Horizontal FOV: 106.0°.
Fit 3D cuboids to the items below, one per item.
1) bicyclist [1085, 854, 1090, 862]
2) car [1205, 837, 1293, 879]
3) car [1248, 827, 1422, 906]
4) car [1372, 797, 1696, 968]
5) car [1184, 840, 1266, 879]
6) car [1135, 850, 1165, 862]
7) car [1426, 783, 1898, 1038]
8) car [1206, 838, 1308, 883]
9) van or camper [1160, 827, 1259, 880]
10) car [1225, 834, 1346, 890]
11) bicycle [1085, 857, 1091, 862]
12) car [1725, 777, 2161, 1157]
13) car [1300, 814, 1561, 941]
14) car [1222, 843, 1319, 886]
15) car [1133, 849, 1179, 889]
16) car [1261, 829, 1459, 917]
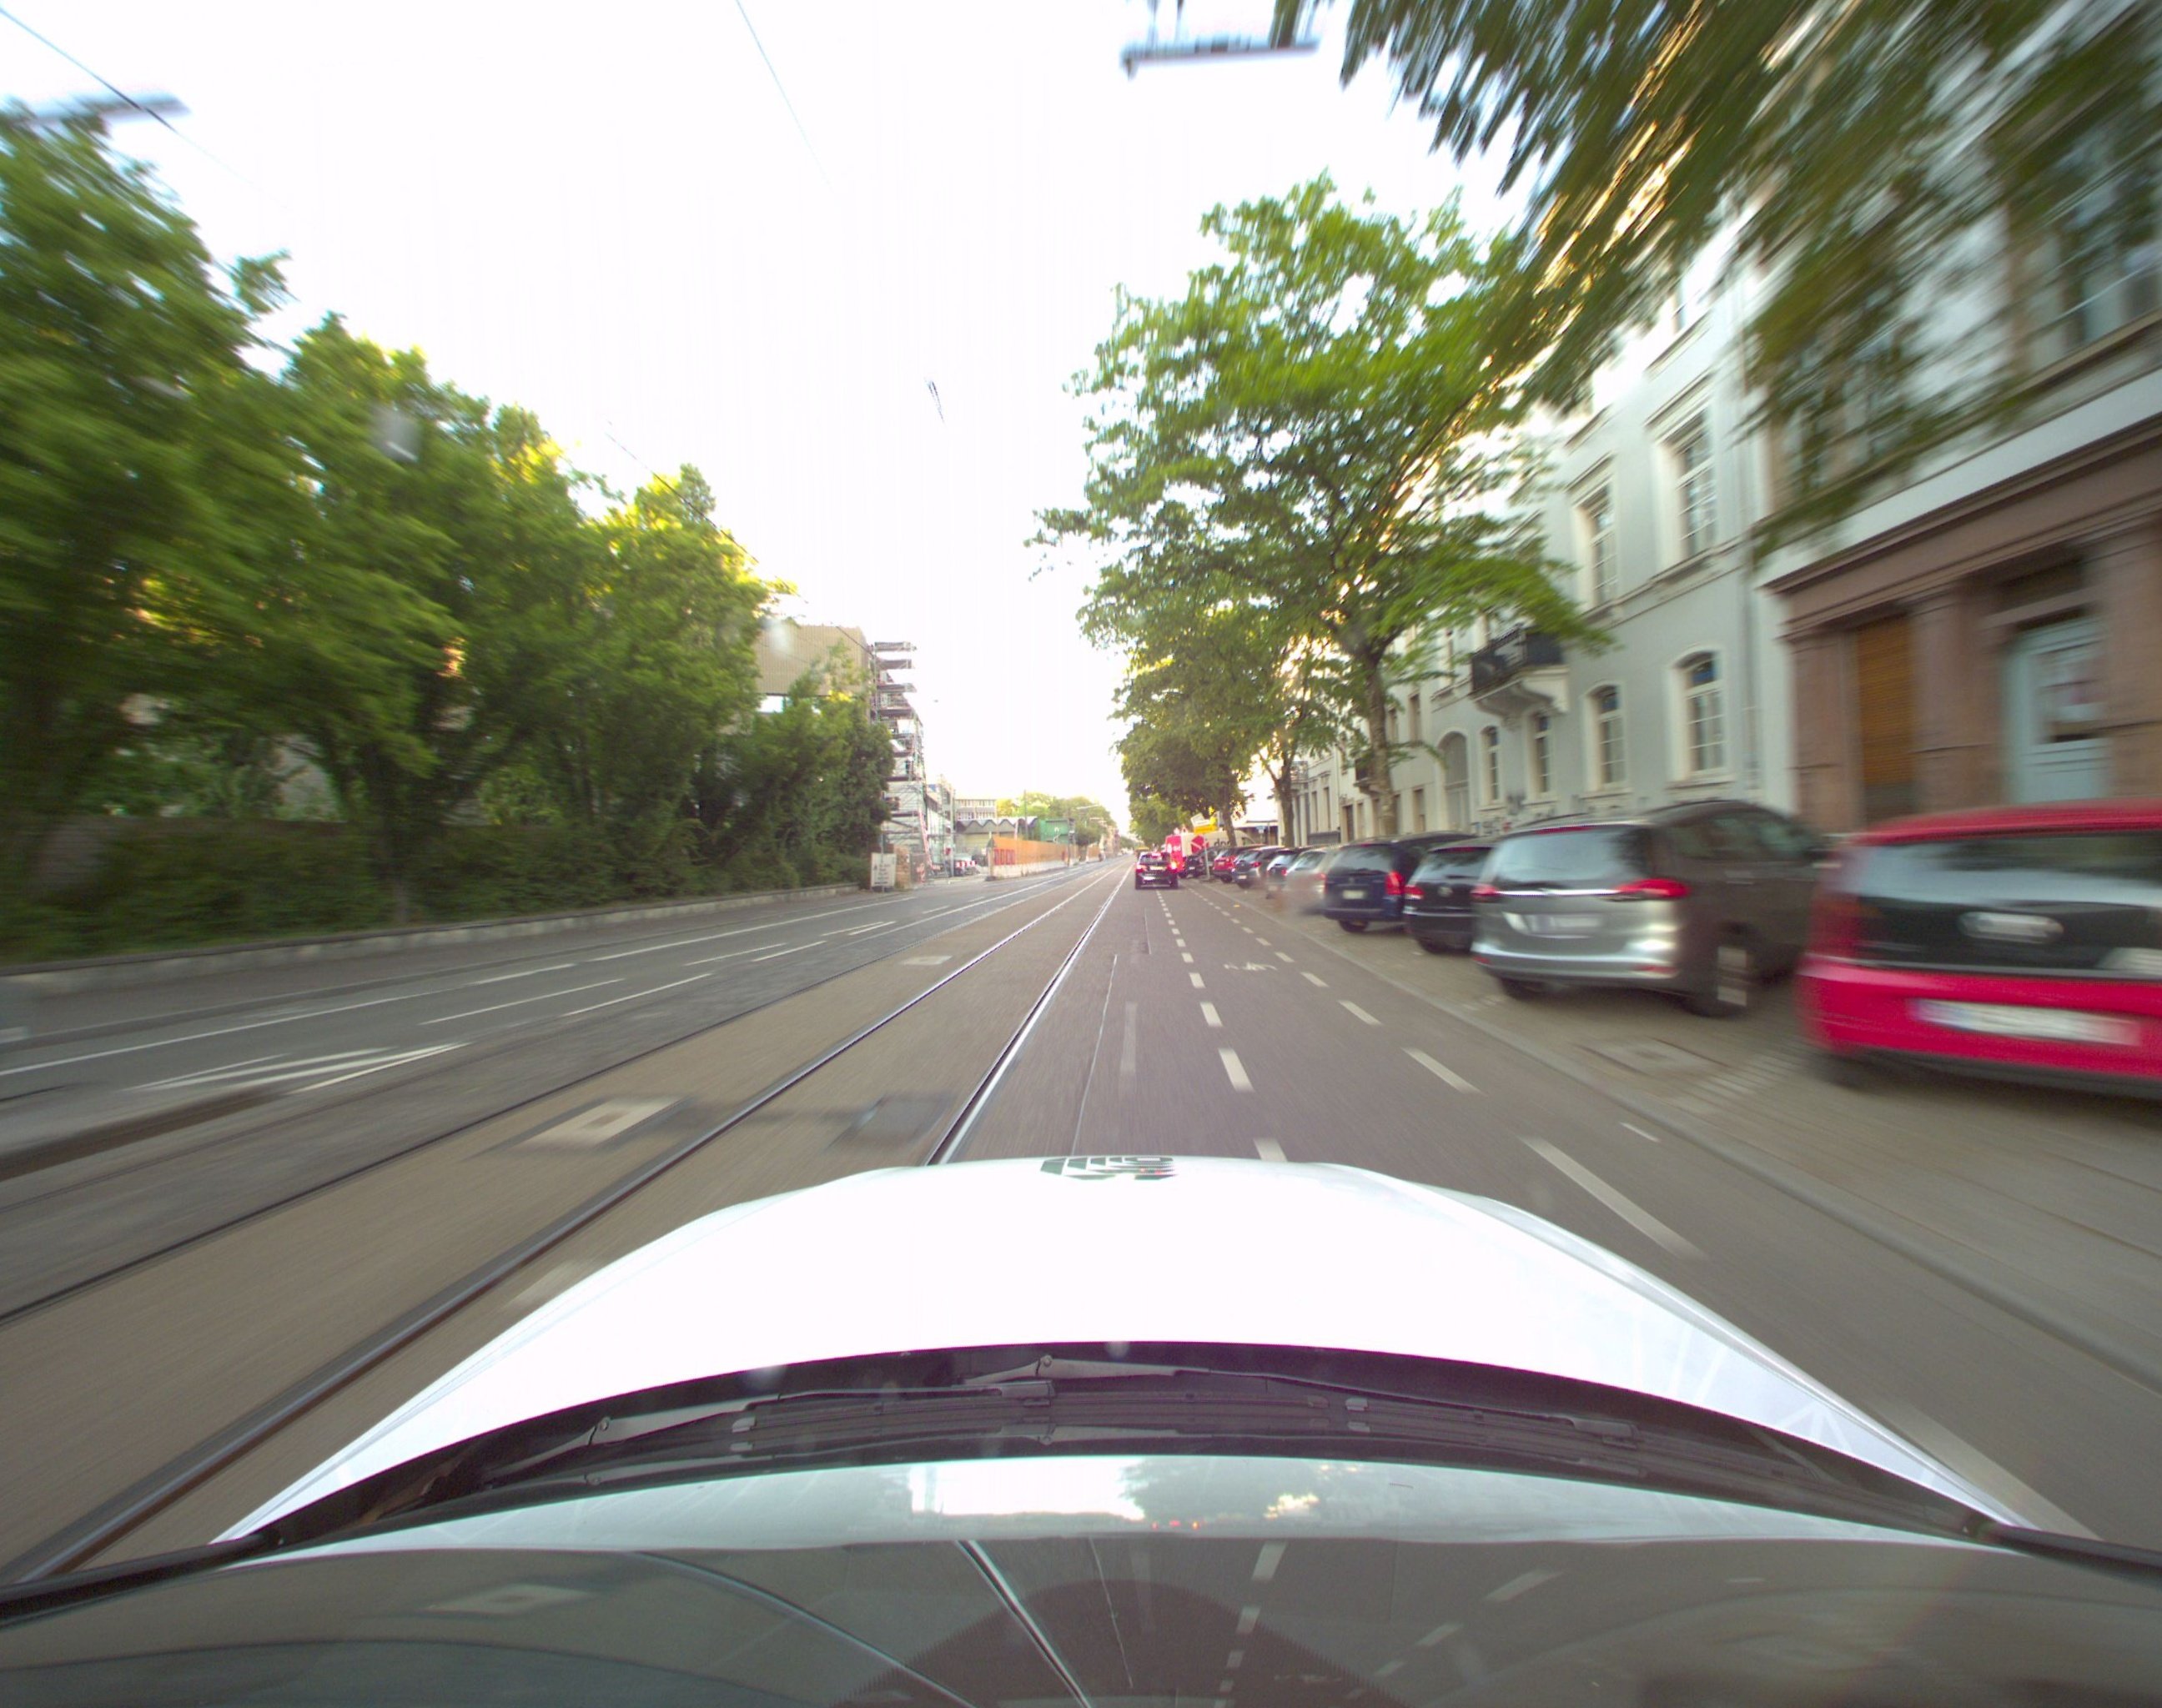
[{"bbox_3d":[1.232,0.693,149.891,0.941,1.346,1.112,-3,0,1],"label":"bicyclist"},{"bbox_3d":[8.603,0.198,41.809,3.959,1.765,1.826,-5,0,-23],"label":"car"},{"bbox_3d":[6.404,0.302,20.477,3.965,1.603,1.823,-4,-1,-28],"label":"car"},{"bbox_3d":[5.973,0.292,10.680,3.966,1.603,1.731,-7,0,-28],"label":"car"},{"bbox_3d":[7.867,0.301,44.512,3.959,1.765,1.826,-5,0,-23],"label":"car"},{"bbox_3d":[9.423,0.324,111.944,3.832,1.420,1.801,-3,0,-4],"label":"car"},{"bbox_3d":[5.391,0.358,7.515,3.965,1.668,1.884,-5,-1,-28],"label":"car"},{"bbox_3d":[7.772,0.288,35.988,3.959,1.603,1.826,-5,0,-23],"label":"car"},{"bbox_3d":[7.591,-0.052,47.864,5.569,2.530,2.066,-5,0,-31],"label":"van or camper"},{"bbox_3d":[7.443,0.293,29.548,3.966,1.603,1.823,-5,0,-28],"label":"car"},{"bbox_3d":[1.282,0.952,150.659,0.944,0.849,2.698,-3,0,1],"label":"bicycle"},{"bbox_3d":[5.764,0.358,4.757,3.969,1.477,1.812,-5,1,-31],"label":"car"},{"bbox_3d":[5.872,0.340,13.632,3.966,1.603,1.823,-6,0,-28],"label":"car"},{"bbox_3d":[7.726,0.427,33.096,3.664,1.445,1.643,-4,-1,-31],"label":"car"},{"bbox_3d":[3.168,0.615,34.934,1.873,1.620,4.004,0,0,4],"label":"car"},{"bbox_3d":[6.220,0.381,18.167,3.961,1.603,1.825,-3,0,-25],"label":"car"}]
